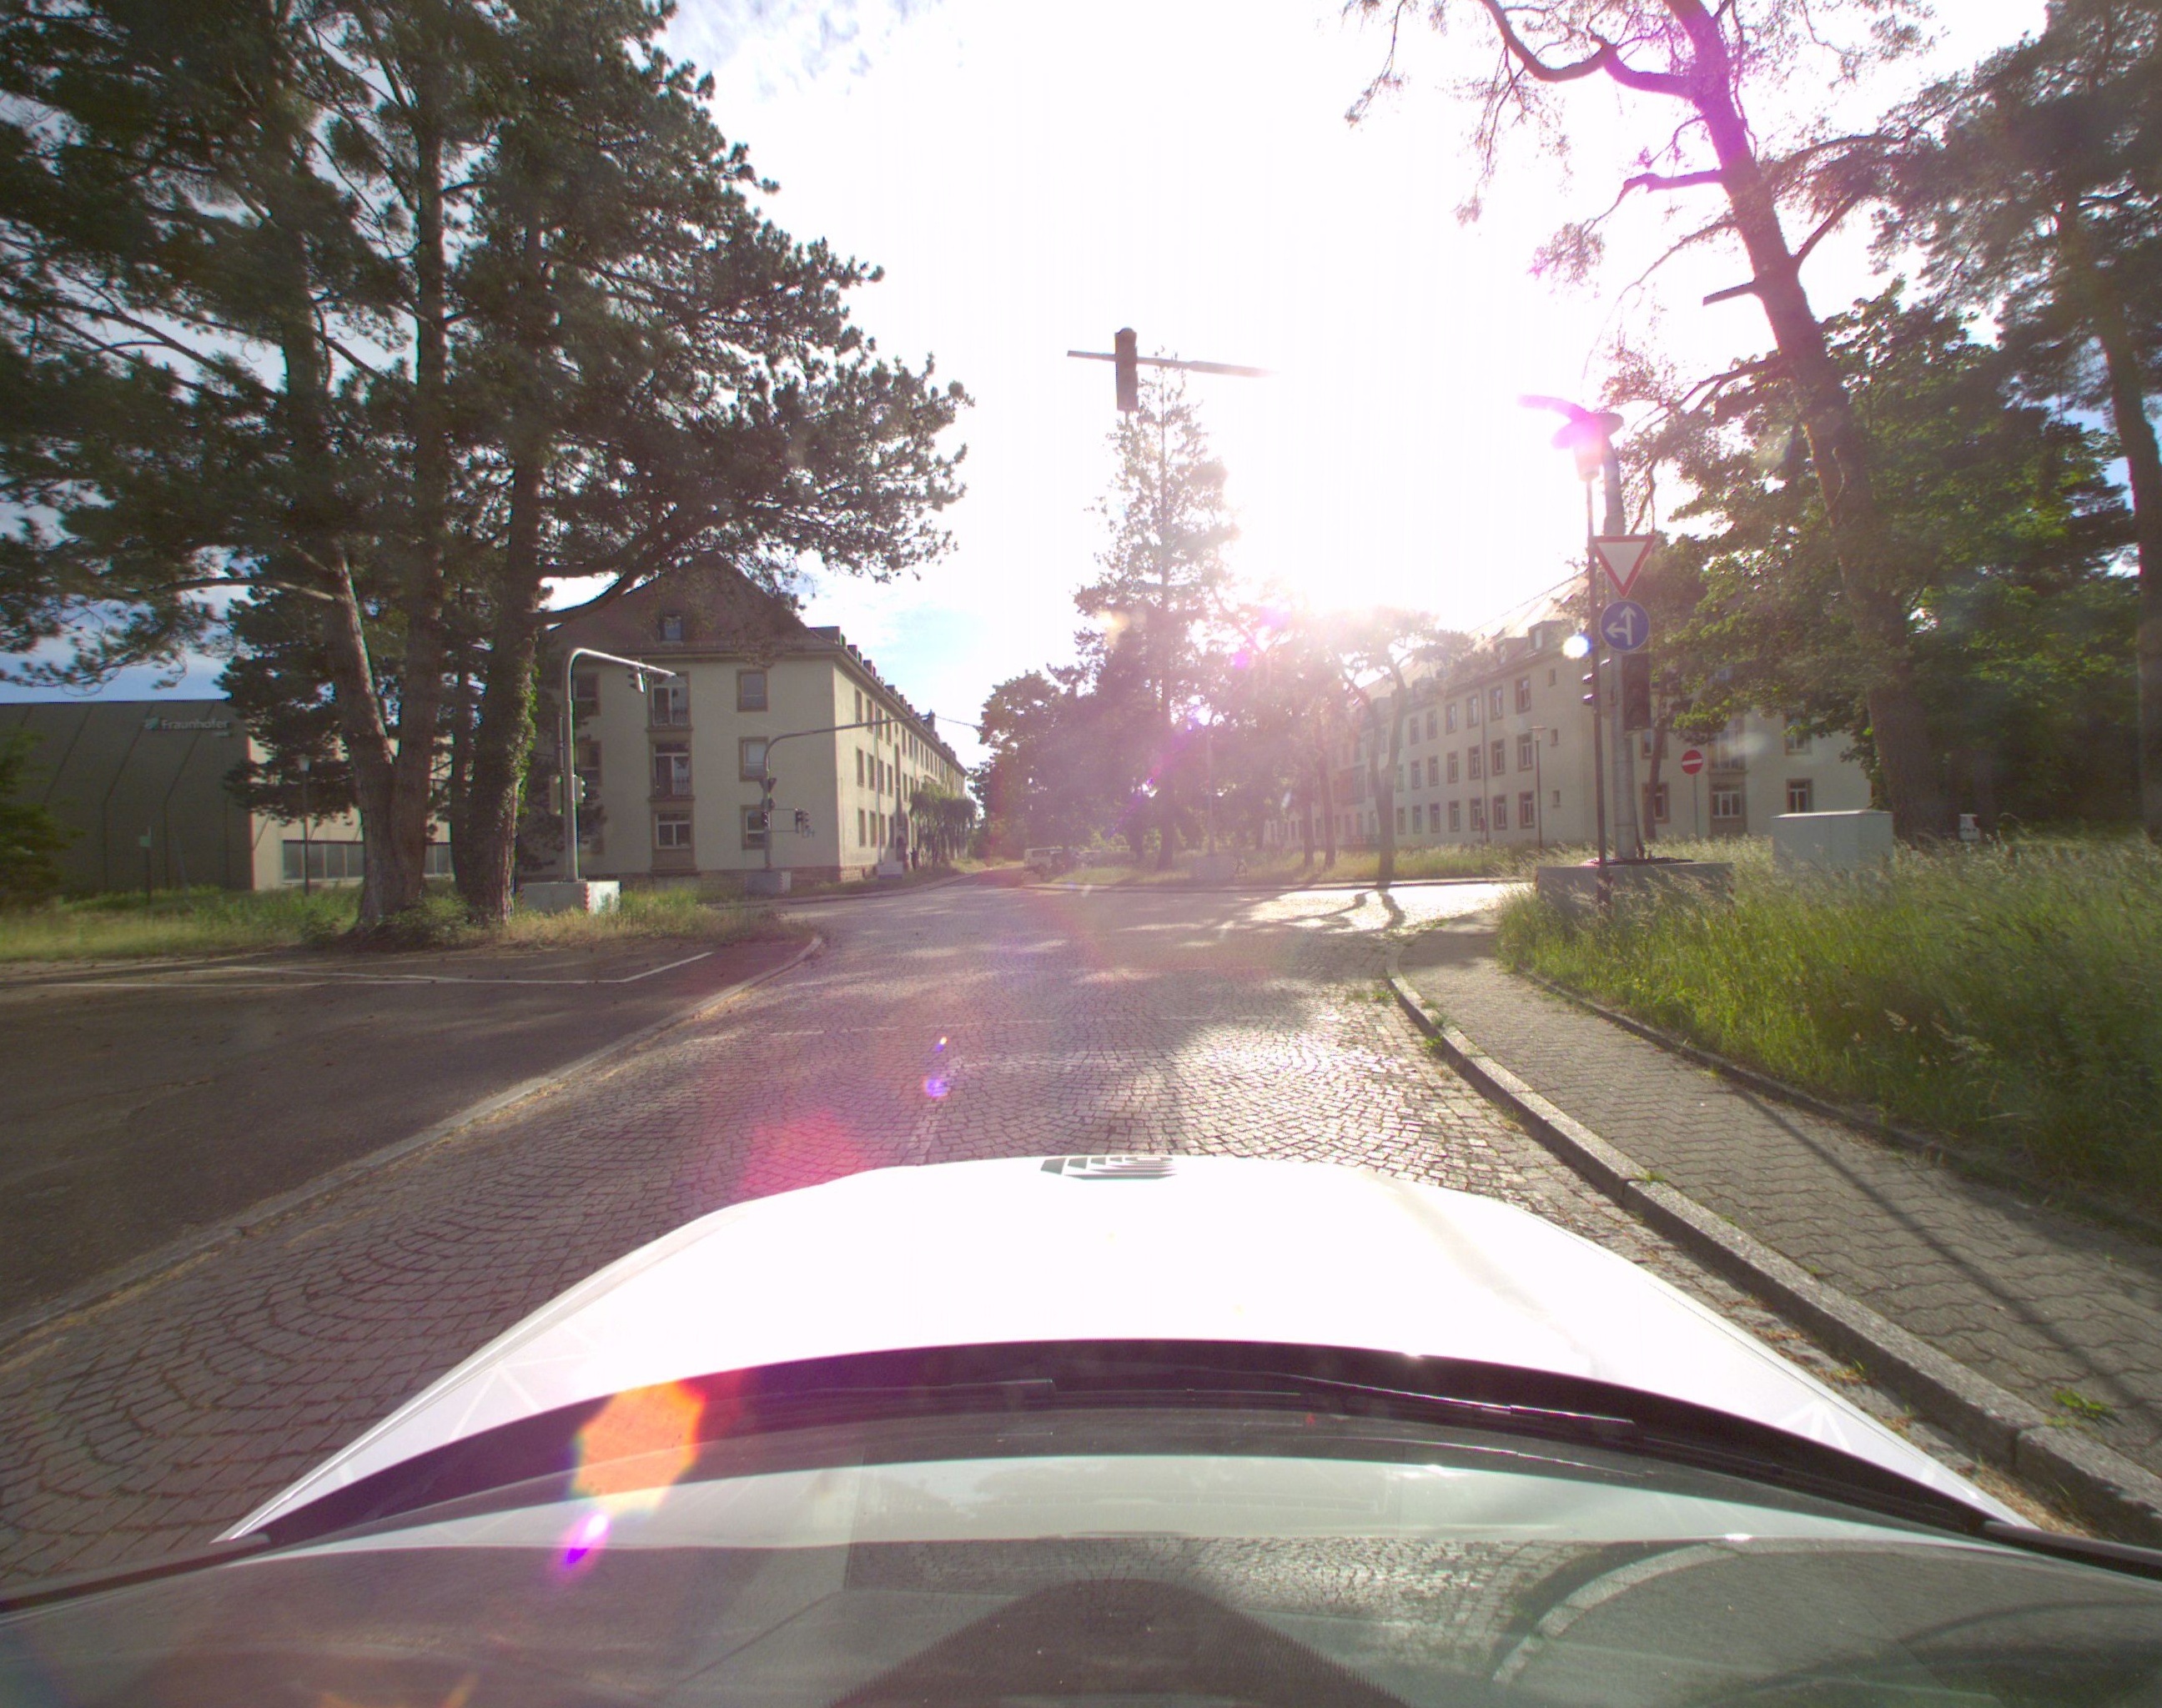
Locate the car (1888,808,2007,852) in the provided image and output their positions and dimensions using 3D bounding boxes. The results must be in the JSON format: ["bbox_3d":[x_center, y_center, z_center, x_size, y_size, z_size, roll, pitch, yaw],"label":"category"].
[{"bbox_3d":[54.406,-1.479,51.197,5.144,2.536,2.263,-2,-1,-2],"label":"car"}]

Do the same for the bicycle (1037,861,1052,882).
[{"bbox_3d":[-1.876,0.887,42.379,0.726,0.999,1.797,-2,1,-3],"label":"bicycle"}]

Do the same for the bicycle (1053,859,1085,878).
[{"bbox_3d":[-0.718,0.853,47.059,1.789,0.999,0.643,-2,1,-4],"label":"bicycle"}]

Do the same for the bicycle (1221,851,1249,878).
[{"bbox_3d":[6.100,0.415,32.250,0.561,0.999,1.748,-2,1,-7],"label":"bicycle"}]

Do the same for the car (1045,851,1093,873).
[{"bbox_3d":[-0.875,0.553,58.407,3.038,1.465,1.711,-1,-1,-16],"label":"car"}]

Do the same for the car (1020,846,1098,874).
[{"bbox_3d":[-1.704,0.474,61.929,5.514,1.916,2.241,-1,-1,-17],"label":"car"}]

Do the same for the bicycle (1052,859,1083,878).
[{"bbox_3d":[-0.821,0.865,48.555,1.789,0.999,0.643,-2,1,-4],"label":"bicycle"}]

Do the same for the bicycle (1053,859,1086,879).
[{"bbox_3d":[-0.671,0.843,46.041,1.789,0.999,0.643,-2,1,-4],"label":"bicycle"}]

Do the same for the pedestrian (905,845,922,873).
[{"bbox_3d":[-11.893,0.363,57.757,0.983,1.963,0.931,-2,-1,-4],"label":"pedestrian"}]
